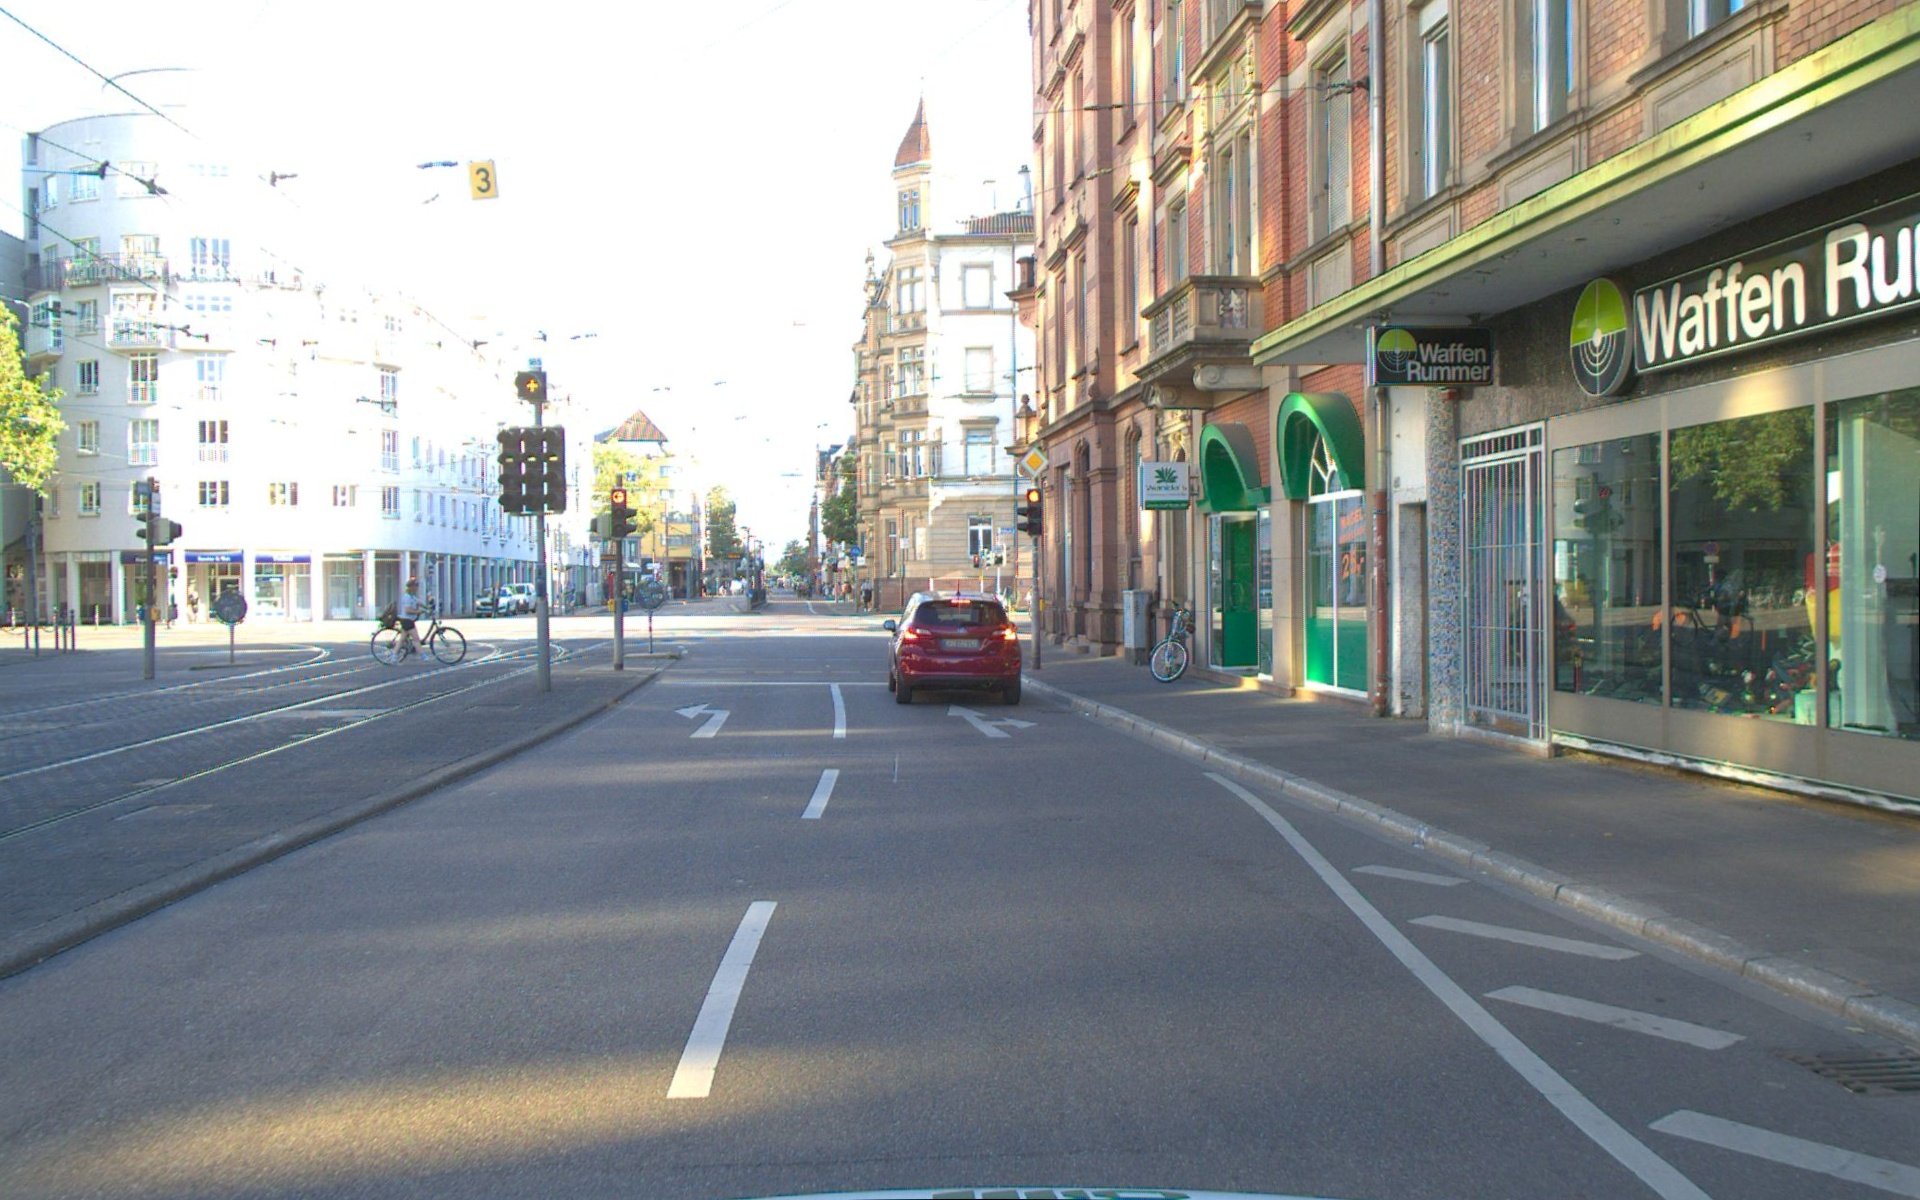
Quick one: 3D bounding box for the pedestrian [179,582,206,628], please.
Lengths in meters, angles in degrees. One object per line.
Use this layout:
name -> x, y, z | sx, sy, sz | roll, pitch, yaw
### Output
pedestrian -> -34.292, 0.215, 73.903 | 0.935, 2.049, 0.929 | -1, 0, -34

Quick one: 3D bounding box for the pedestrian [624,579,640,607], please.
pedestrian -> -24.159, -0.519, 121.894 | 1.025, 2.049, 0.957 | -1, 0, -8

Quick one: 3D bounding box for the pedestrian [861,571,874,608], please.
pedestrian -> -5.176, -0.580, 92.454 | 0.639, 2.049, 0.758 | -1, 0, -7

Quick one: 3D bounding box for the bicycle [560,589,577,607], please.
bicycle -> -25.584, -0.146, 108.109 | 0.792, 1.167, 2.008 | -1, 1, -6

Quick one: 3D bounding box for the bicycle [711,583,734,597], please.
bicycle -> -35.703, -1.578, 249.063 | 3.359, 2.049, 1.111 | -1, 0, -6

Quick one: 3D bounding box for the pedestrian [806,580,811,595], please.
pedestrian -> -19.880, -1.672, 216.652 | 0.566, 1.920, 0.630 | -1, 0, -5

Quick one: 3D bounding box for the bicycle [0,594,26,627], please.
bicycle -> -47.584, 0.533, 79.563 | 4.609, 1.556, 1.066 | -1, 0, -3

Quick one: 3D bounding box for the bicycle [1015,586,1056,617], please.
bicycle -> 2.810, 0.043, 61.281 | 1.450, 1.108, 0.528 | -1, 0, 10

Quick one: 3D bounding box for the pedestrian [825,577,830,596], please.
pedestrian -> -14.550, -1.472, 181.842 | 0.566, 2.049, 0.630 | -1, 0, -5

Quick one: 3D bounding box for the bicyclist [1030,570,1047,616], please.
bicyclist -> 2.902, -0.257, 61.263 | 0.532, 1.705, 0.501 | -1, 0, 10

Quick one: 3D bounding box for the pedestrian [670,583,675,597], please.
pedestrian -> -32.424, -1.113, 186.613 | 0.513, 1.514, 0.582 | -1, 0, -4

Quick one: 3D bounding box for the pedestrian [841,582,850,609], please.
pedestrian -> -8.715, -0.360, 126.207 | 0.633, 2.049, 0.682 | -1, 0, -6

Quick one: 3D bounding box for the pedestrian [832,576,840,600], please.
pedestrian -> -10.447, -1.024, 139.596 | 0.565, 2.049, 0.631 | -1, 0, 0

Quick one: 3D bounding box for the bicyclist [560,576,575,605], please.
bicyclist -> -25.587, -0.636, 107.939 | 0.792, 1.853, 0.992 | -1, 0, -6

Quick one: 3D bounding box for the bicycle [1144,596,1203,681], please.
bicycle -> 3.205, 0.553, 24.735 | 0.700, 1.172, 1.656 | -2, 1, 12

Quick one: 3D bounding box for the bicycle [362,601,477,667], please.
bicycle -> -10.110, 0.621, 30.971 | 1.983, 1.198, 0.626 | -1, 0, -13

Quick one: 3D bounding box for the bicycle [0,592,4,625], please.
bicycle -> -47.811, 0.441, 78.080 | 4.609, 1.556, 1.066 | -1, 0, -3

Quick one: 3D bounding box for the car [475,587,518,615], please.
car -> -26.738, 0.058, 95.531 | 1.731, 1.573, 3.457 | -1, 1, -5

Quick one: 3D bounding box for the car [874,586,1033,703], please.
car -> -0.172, 0.558, 23.100 | 1.721, 1.492, 3.938 | 1, 0, -8

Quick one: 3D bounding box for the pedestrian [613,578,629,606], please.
pedestrian -> -24.707, -0.588, 120.493 | 1.025, 2.049, 0.957 | -1, 0, -8

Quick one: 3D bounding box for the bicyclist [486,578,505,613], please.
bicyclist -> -23.795, -0.238, 84.701 | 0.792, 1.756, 0.793 | -1, 0, -6

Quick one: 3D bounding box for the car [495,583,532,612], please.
car -> -27.754, -0.189, 102.863 | 1.668, 1.748, 3.559 | -1, 1, -6

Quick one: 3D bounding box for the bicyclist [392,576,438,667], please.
bicyclist -> -10.060, 0.385, 30.551 | 0.717, 1.655, 0.763 | 0, 0, -12

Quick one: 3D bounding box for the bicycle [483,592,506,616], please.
bicycle -> -23.776, 0.206, 84.541 | 0.792, 1.167, 2.047 | -1, 1, -6

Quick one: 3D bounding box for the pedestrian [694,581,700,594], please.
pedestrian -> -33.777, -1.615, 212.158 | 0.620, 1.632, 0.575 | -1, 0, -23

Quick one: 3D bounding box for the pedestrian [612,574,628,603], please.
pedestrian -> -23.948, -0.813, 116.512 | 0.937, 2.049, 1.047 | -1, 0, -6

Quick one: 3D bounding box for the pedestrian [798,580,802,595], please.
pedestrian -> -21.323, -1.637, 220.199 | 0.566, 1.920, 0.669 | -1, 0, -6
